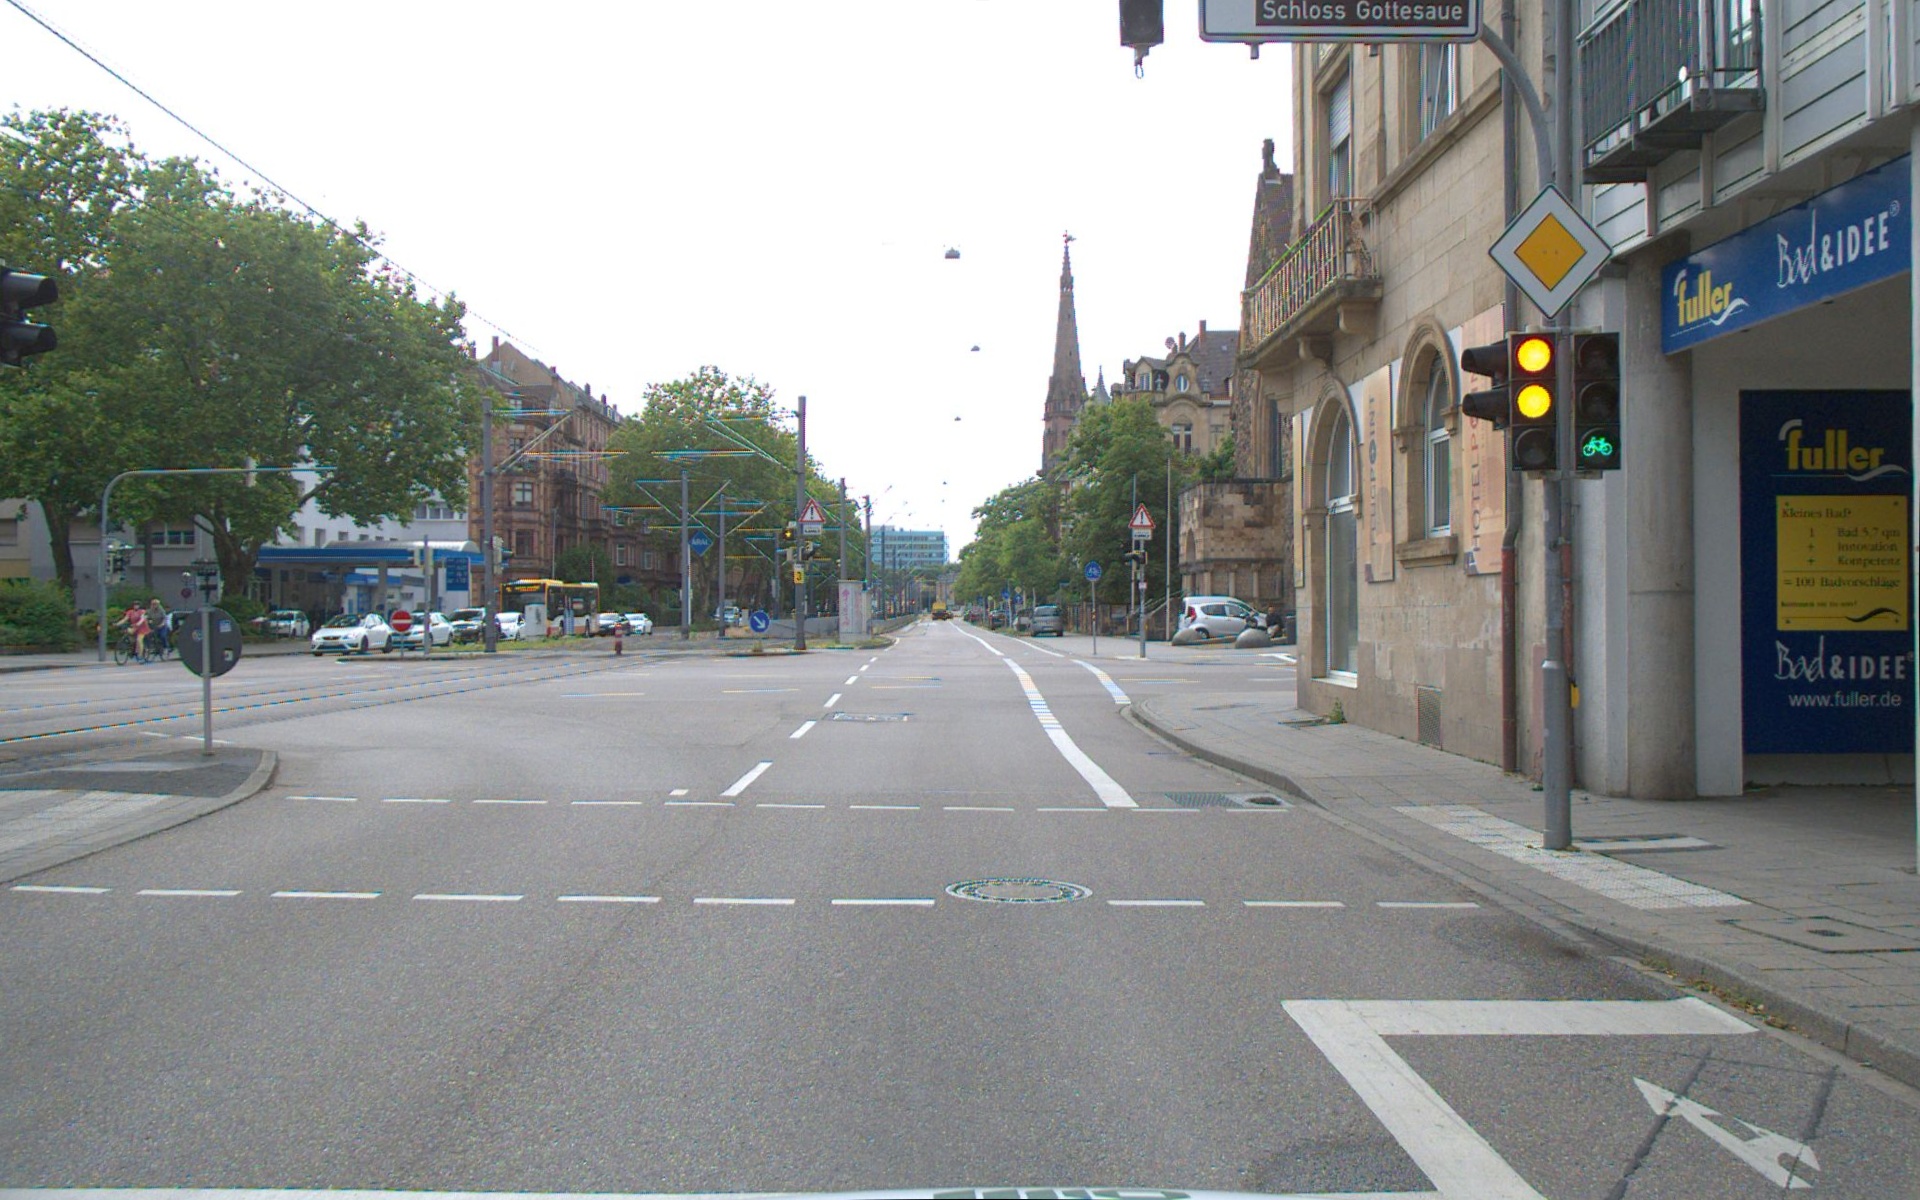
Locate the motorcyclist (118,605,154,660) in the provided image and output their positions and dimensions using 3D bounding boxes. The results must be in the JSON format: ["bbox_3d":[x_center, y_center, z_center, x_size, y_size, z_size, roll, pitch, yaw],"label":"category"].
[{"bbox_3d":[-23.658,0.926,47.486,0.607,1.546,0.873,0,0,-1],"label":"motorcyclist"}]

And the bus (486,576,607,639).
[{"bbox_3d":[-21.971,0.417,88.761,3.164,3.088,12.312,1,0,1],"label":"bus"}]

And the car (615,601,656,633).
[{"bbox_3d":[-21.416,1.132,109.266,1.953,2.049,3.999,1,0,-1],"label":"car"}]

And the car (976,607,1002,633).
[{"bbox_3d":[2.369,1.625,136.155,1.953,2.049,3.999,1,0,-1],"label":"car"}]

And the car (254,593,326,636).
[{"bbox_3d":[-32.694,0.684,80.794,1.953,2.049,3.999,0,0,-1],"label":"car"}]

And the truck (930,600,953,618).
[{"bbox_3d":[-2.886,1.446,265.625,2.991,2.817,9.819,0,0,3],"label":"truck"}]

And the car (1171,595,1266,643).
[{"bbox_3d":[10.687,0.794,68.564,3.638,1.888,2.000,1,0,-1],"label":"car"}]

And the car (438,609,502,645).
[{"bbox_3d":[-21.228,1.139,71.788,1.622,1.504,3.638,1,0,1],"label":"car"}]

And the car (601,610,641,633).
[{"bbox_3d":[-20.852,1.305,101.905,1.622,1.344,3.638,1,0,1],"label":"car"}]

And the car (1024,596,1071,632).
[{"bbox_3d":[4.810,0.769,90.055,1.951,1.888,4.030,1,0,12],"label":"car"}]

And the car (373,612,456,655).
[{"bbox_3d":[-21.428,1.287,65.135,1.953,1.622,3.999,1,0,-1],"label":"car"}]

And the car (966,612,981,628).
[{"bbox_3d":[1.758,2.656,216.831,1.953,2.049,3.999,1,0,-1],"label":"car"}]

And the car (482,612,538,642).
[{"bbox_3d":[-21.384,1.284,78.707,1.622,1.344,3.638,1,0,1],"label":"car"}]

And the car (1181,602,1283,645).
[{"bbox_3d":[10.670,0.925,65.057,3.638,1.591,2.000,1,0,-1],"label":"car"}]

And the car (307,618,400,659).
[{"bbox_3d":[-21.440,1.332,58.636,1.711,1.344,4.076,1,0,1],"label":"car"}]

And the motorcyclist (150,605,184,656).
[{"bbox_3d":[-24.331,0.928,50.762,0.607,1.546,0.873,0,0,-1],"label":"motorcyclist"}]

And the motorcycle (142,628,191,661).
[{"bbox_3d":[-24.333,1.359,50.753,0.594,0.945,1.951,0,0,0],"label":"motorcycle"}]

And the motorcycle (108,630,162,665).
[{"bbox_3d":[-23.648,1.357,47.439,0.594,0.945,1.951,0,0,0],"label":"motorcycle"}]

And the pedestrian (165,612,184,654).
[{"bbox_3d":[-27.605,1.161,58.102,0.466,1.485,0.426,0,0,-1],"label":"pedestrian"}]

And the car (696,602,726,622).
[{"bbox_3d":[-21.229,1.022,141.188,1.953,1.639,3.999,1,0,-1],"label":"car"}]

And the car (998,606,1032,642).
[{"bbox_3d":[3.283,1.419,99.663,1.952,2.049,4.000,1,0,1],"label":"car"}]

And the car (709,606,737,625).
[{"bbox_3d":[-21.346,1.379,148.998,1.953,1.639,3.999,1,0,-1],"label":"car"}]
